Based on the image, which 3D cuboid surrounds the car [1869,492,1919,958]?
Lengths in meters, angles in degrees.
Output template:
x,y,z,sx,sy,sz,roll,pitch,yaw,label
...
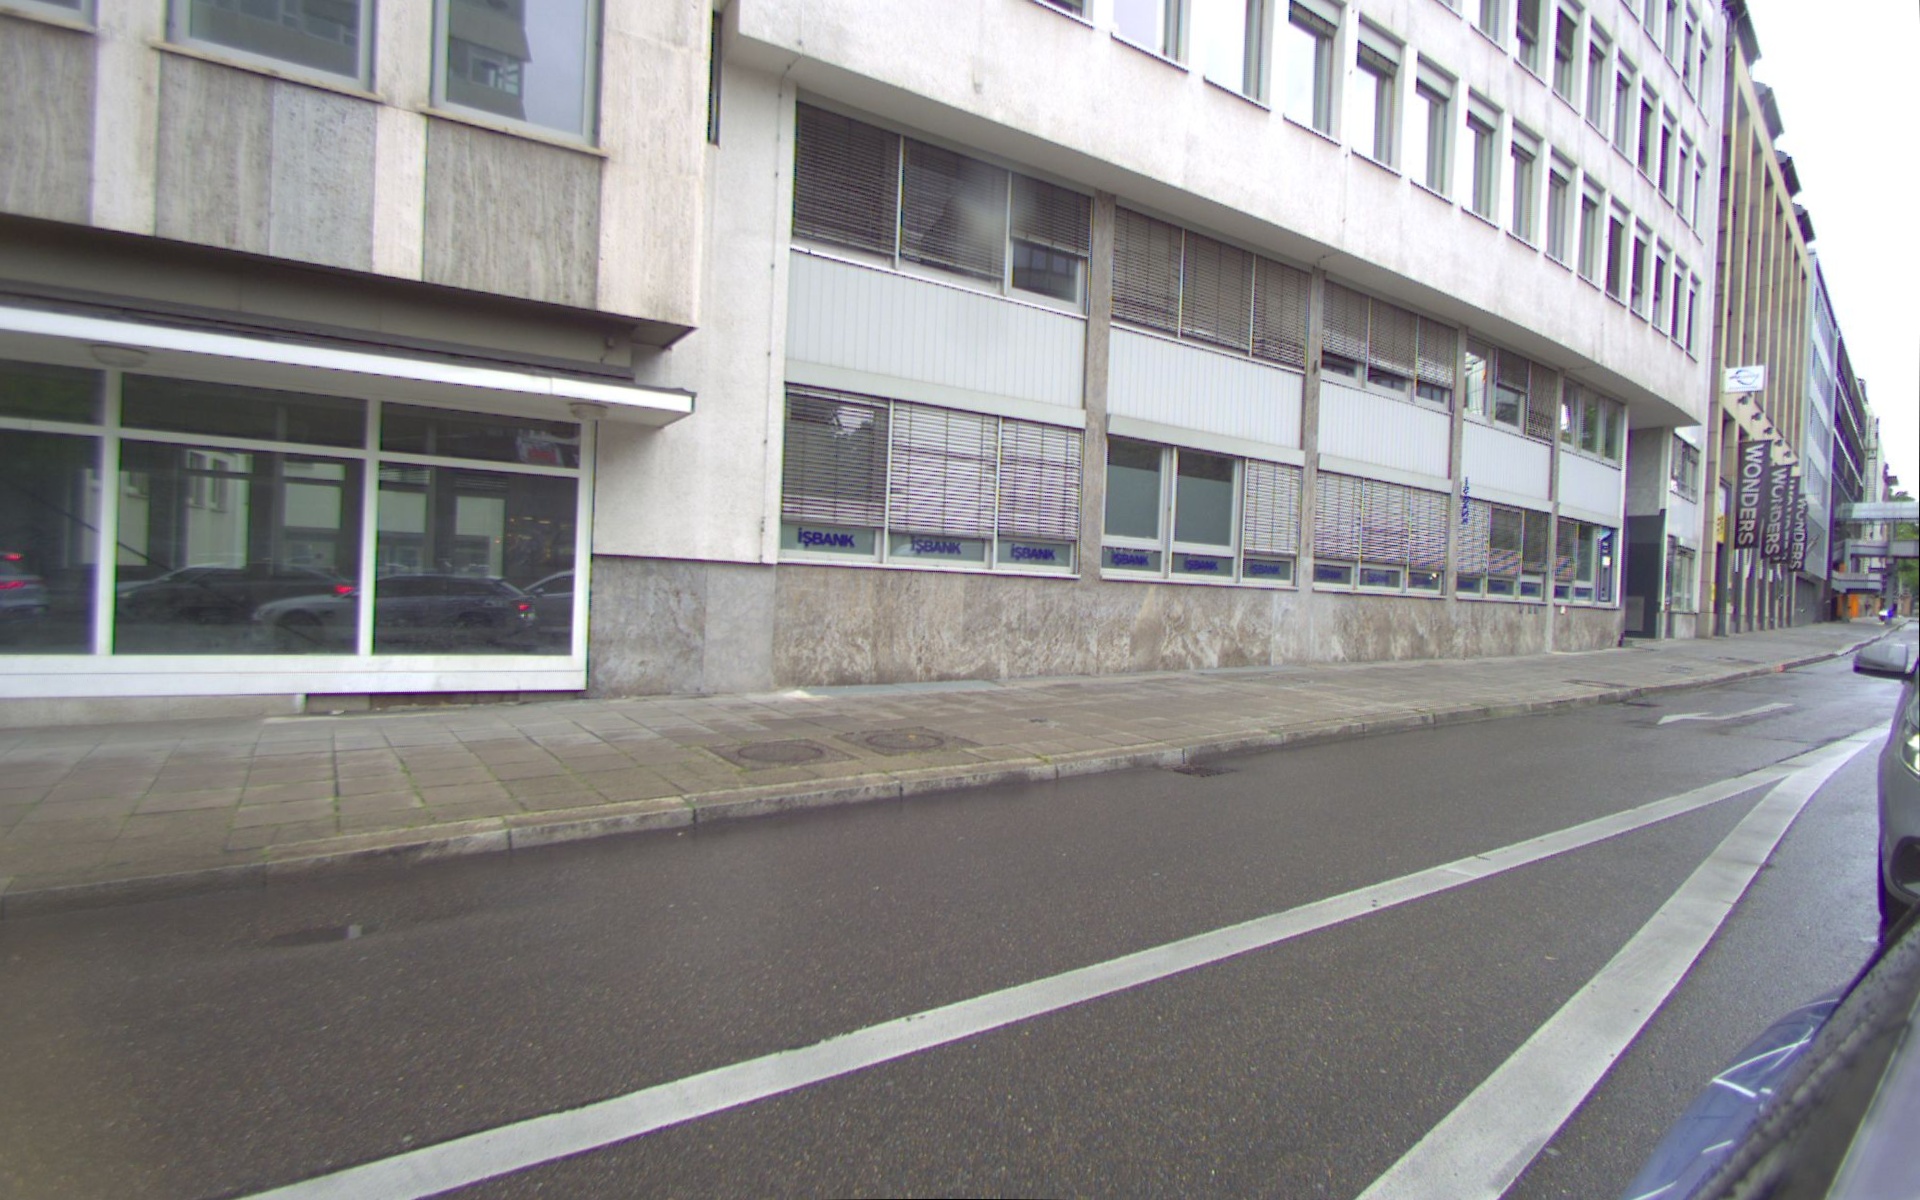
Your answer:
x,y,z,sx,sy,sz,roll,pitch,yaw,label
6.233,0.518,5.140,4.940,1.879,1.914,0,0,-42,car
